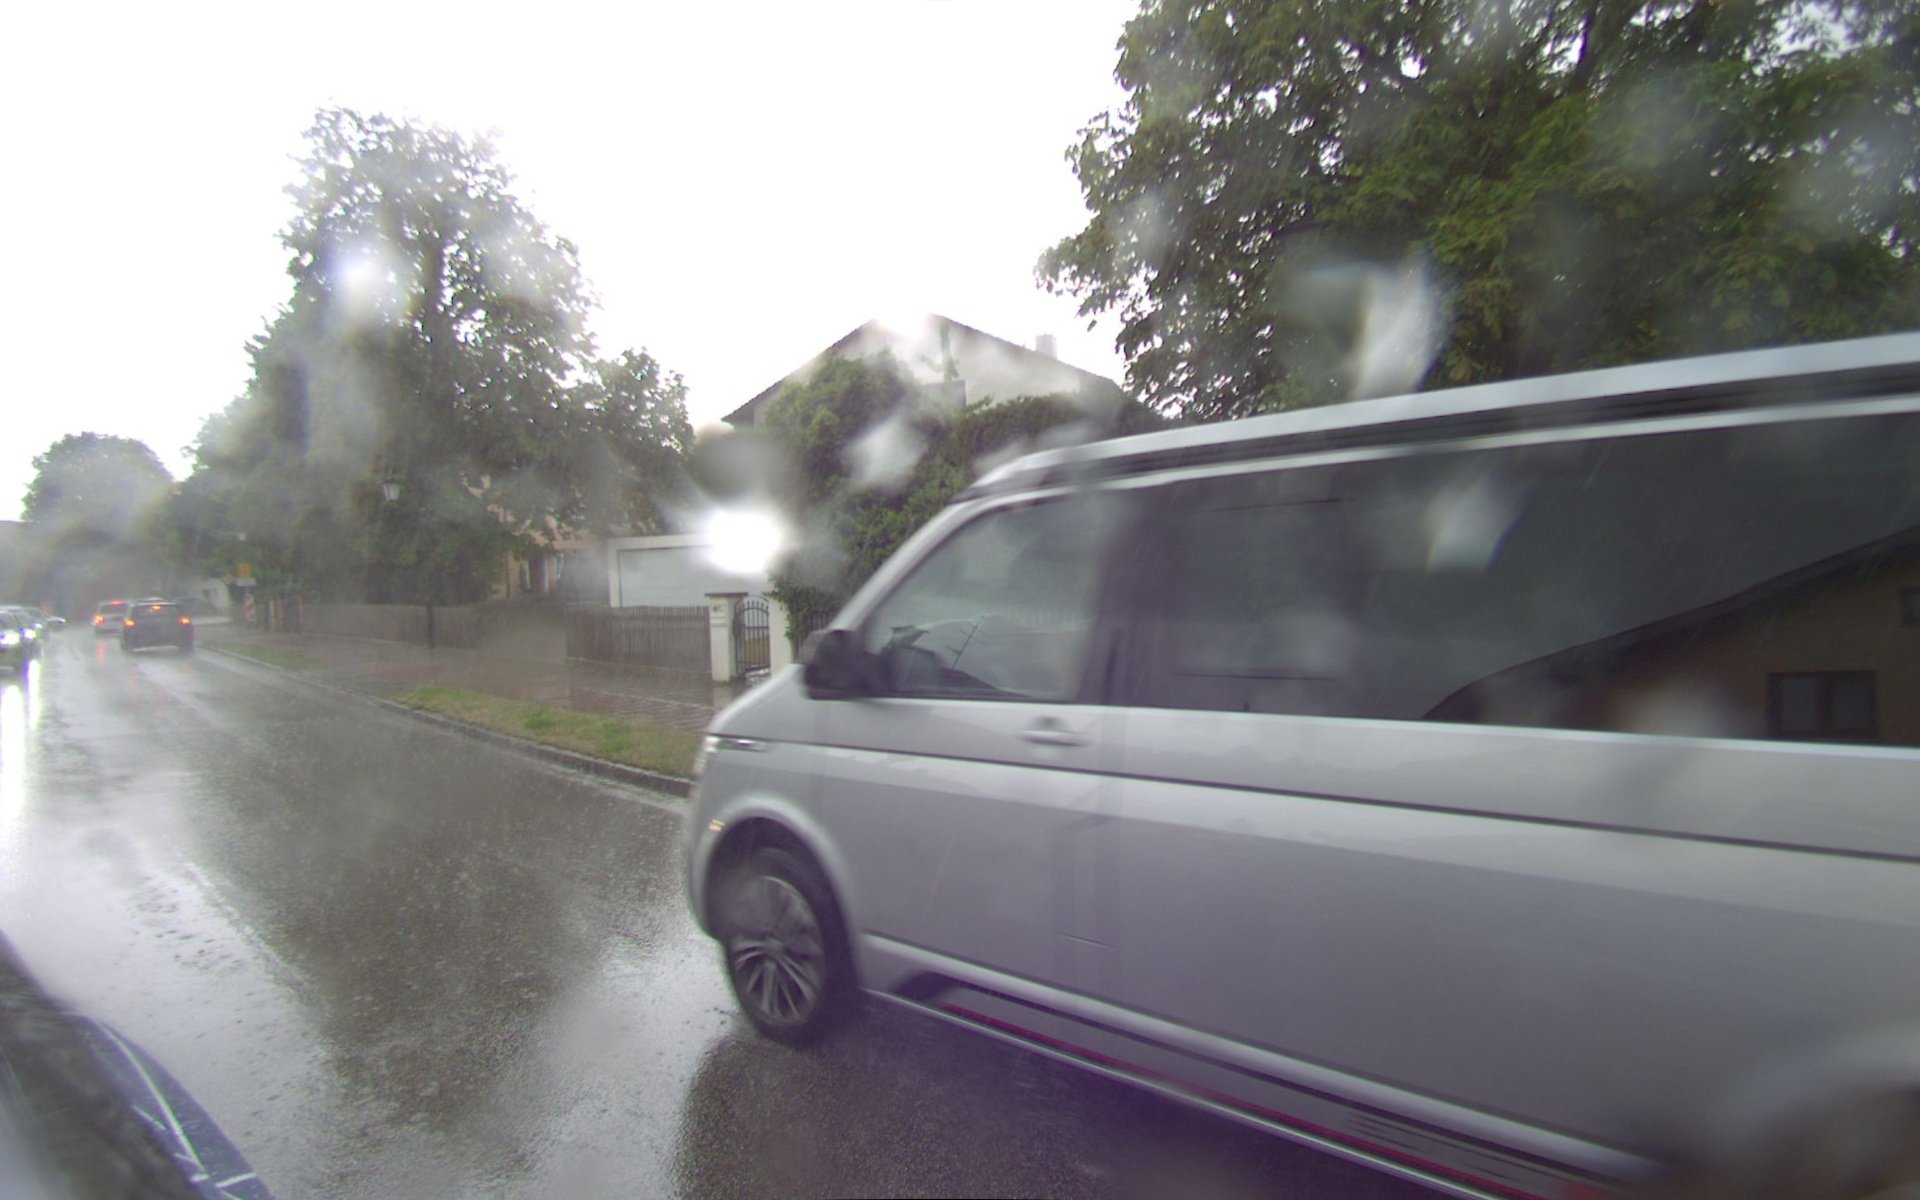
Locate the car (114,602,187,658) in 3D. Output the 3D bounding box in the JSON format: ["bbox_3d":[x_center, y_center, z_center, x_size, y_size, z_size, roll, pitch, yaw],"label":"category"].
[{"bbox_3d":[-25.373,0.906,31.695,1.567,1.622,3.543,0,-1,-42],"label":"car"}]

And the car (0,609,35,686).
[{"bbox_3d":[-23.444,1.106,24.172,1.845,1.624,4.967,-4,3,-42],"label":"car"}]

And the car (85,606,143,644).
[{"bbox_3d":[-39.604,1.159,47.349,1.733,1.690,4.002,1,-1,-45],"label":"car"}]

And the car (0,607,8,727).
[{"bbox_3d":[-13.482,0.885,12.884,1.845,1.532,4.193,-2,1,-42],"label":"car"}]

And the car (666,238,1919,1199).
[{"bbox_3d":[1.362,0.456,2.788,4.696,1.986,1.832,-1,-1,39],"label":"car"}]

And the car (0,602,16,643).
[{"bbox_3d":[-38.172,0.897,39.454,1.845,1.532,4.967,-4,3,-42],"label":"car"}]
